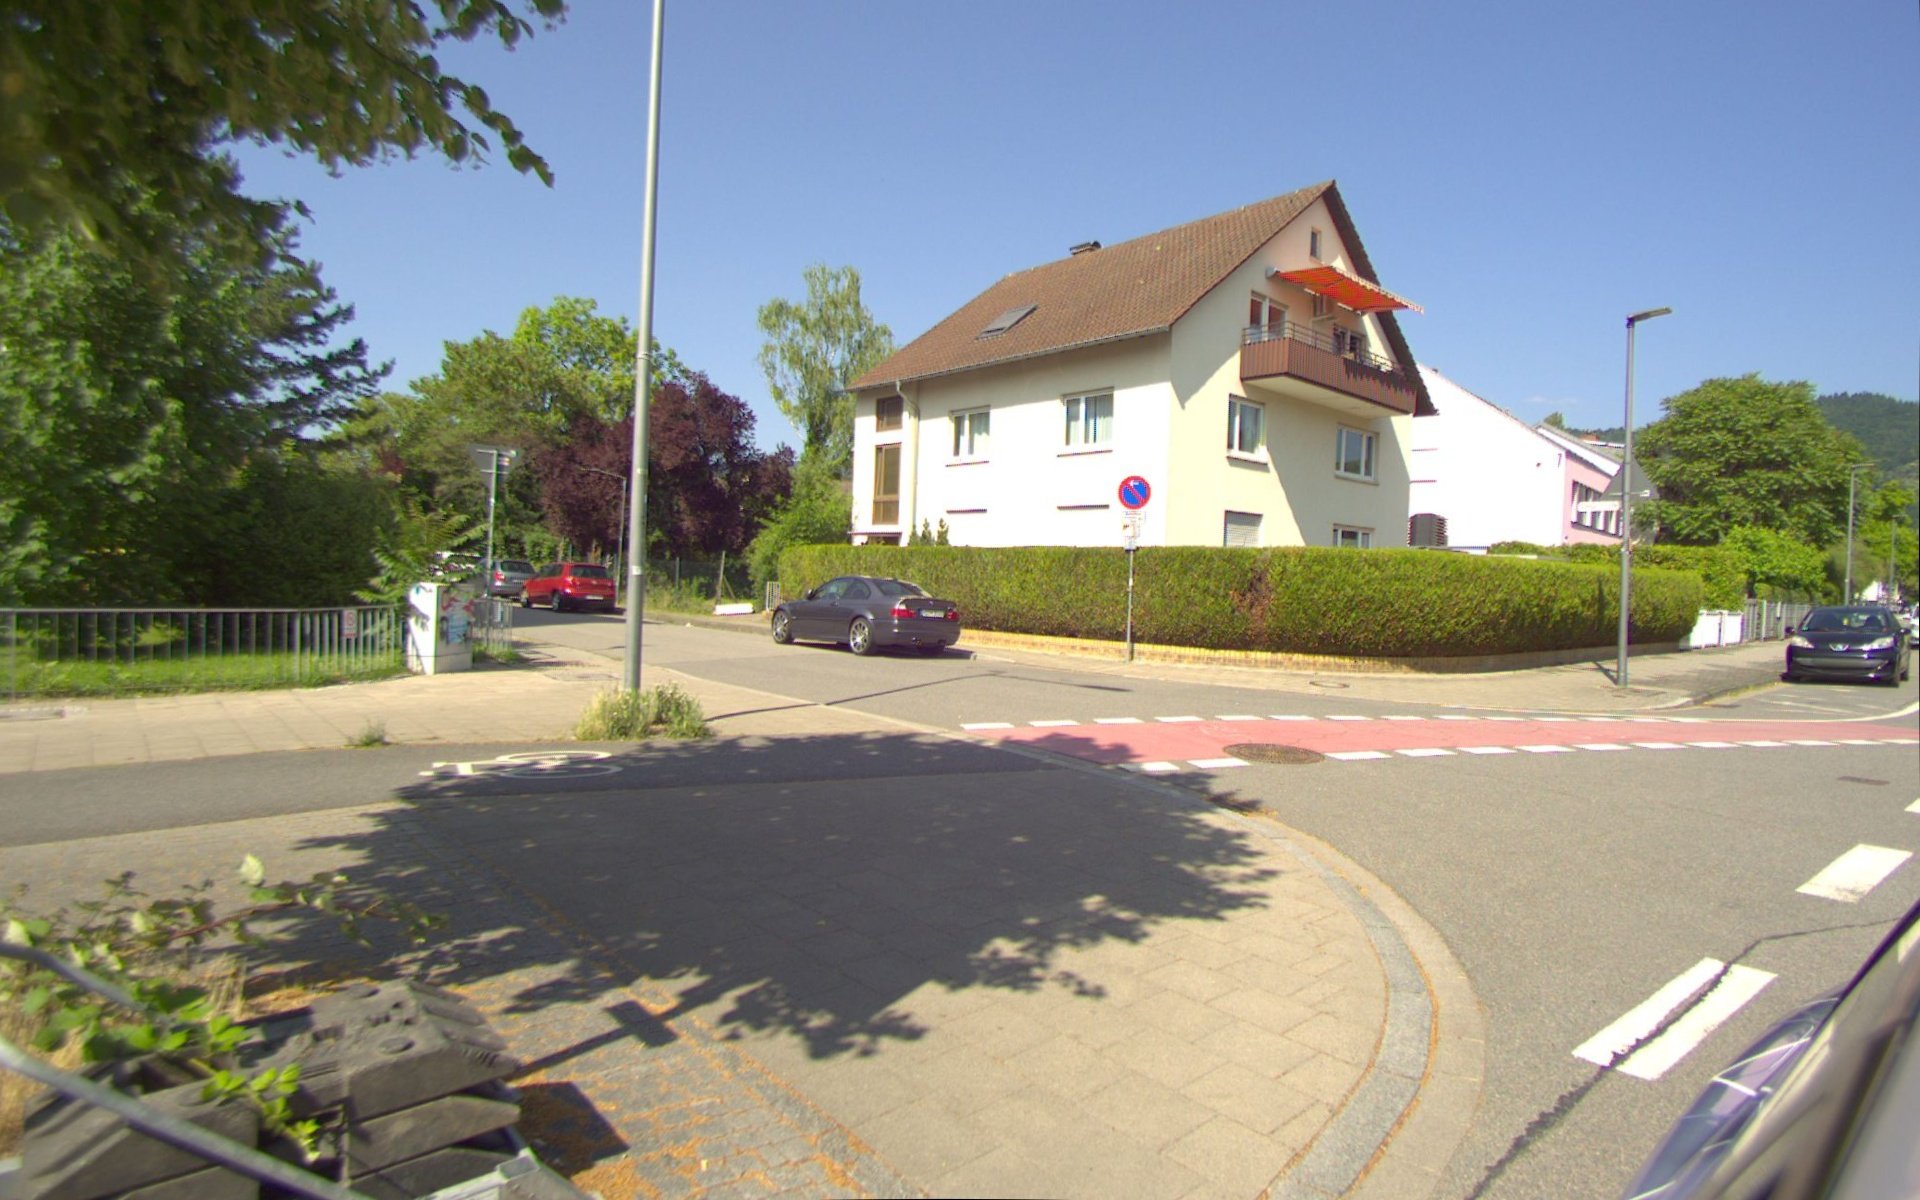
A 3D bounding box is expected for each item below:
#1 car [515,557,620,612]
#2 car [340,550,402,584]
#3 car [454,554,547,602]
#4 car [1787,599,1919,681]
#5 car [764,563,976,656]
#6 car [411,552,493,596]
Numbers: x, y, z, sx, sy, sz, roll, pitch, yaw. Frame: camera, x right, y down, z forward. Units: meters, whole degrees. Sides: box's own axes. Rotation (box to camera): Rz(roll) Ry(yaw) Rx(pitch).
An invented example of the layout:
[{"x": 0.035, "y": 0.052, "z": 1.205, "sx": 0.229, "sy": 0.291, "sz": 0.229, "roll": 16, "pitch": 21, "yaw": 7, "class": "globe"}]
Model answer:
[{"x": -11.821, "y": -0.484, "z": 30.347, "sx": 1.620, "sy": 1.473, "sz": 3.994, "roll": 1, "pitch": 2, "yaw": -42, "class": "car"}, {"x": -29.081, "y": -1.626, "z": 49.918, "sx": 1.884, "sy": 1.523, "sz": 3.994, "roll": 1, "pitch": 2, "yaw": -42, "class": "car"}, {"x": -16.373, "y": -0.809, "z": 35.954, "sx": 1.884, "sy": 1.523, "sz": 3.994, "roll": 1, "pitch": 2, "yaw": -42, "class": "car"}, {"x": 17.255, "y": 0.692, "z": 19.388, "sx": 3.932, "sy": 1.408, "sz": 1.618, "roll": 0, "pitch": -1, "yaw": -43, "class": "car"}, {"x": -1.768, "y": 0.129, "z": 18.673, "sx": 1.779, "sy": 1.415, "sz": 4.124, "roll": 4, "pitch": 0, "yaw": -41, "class": "car"}, {"x": -20.168, "y": -1.044, "z": 40.108, "sx": 1.884, "sy": 1.576, "sz": 3.994, "roll": 1, "pitch": 2, "yaw": -42, "class": "car"}]
